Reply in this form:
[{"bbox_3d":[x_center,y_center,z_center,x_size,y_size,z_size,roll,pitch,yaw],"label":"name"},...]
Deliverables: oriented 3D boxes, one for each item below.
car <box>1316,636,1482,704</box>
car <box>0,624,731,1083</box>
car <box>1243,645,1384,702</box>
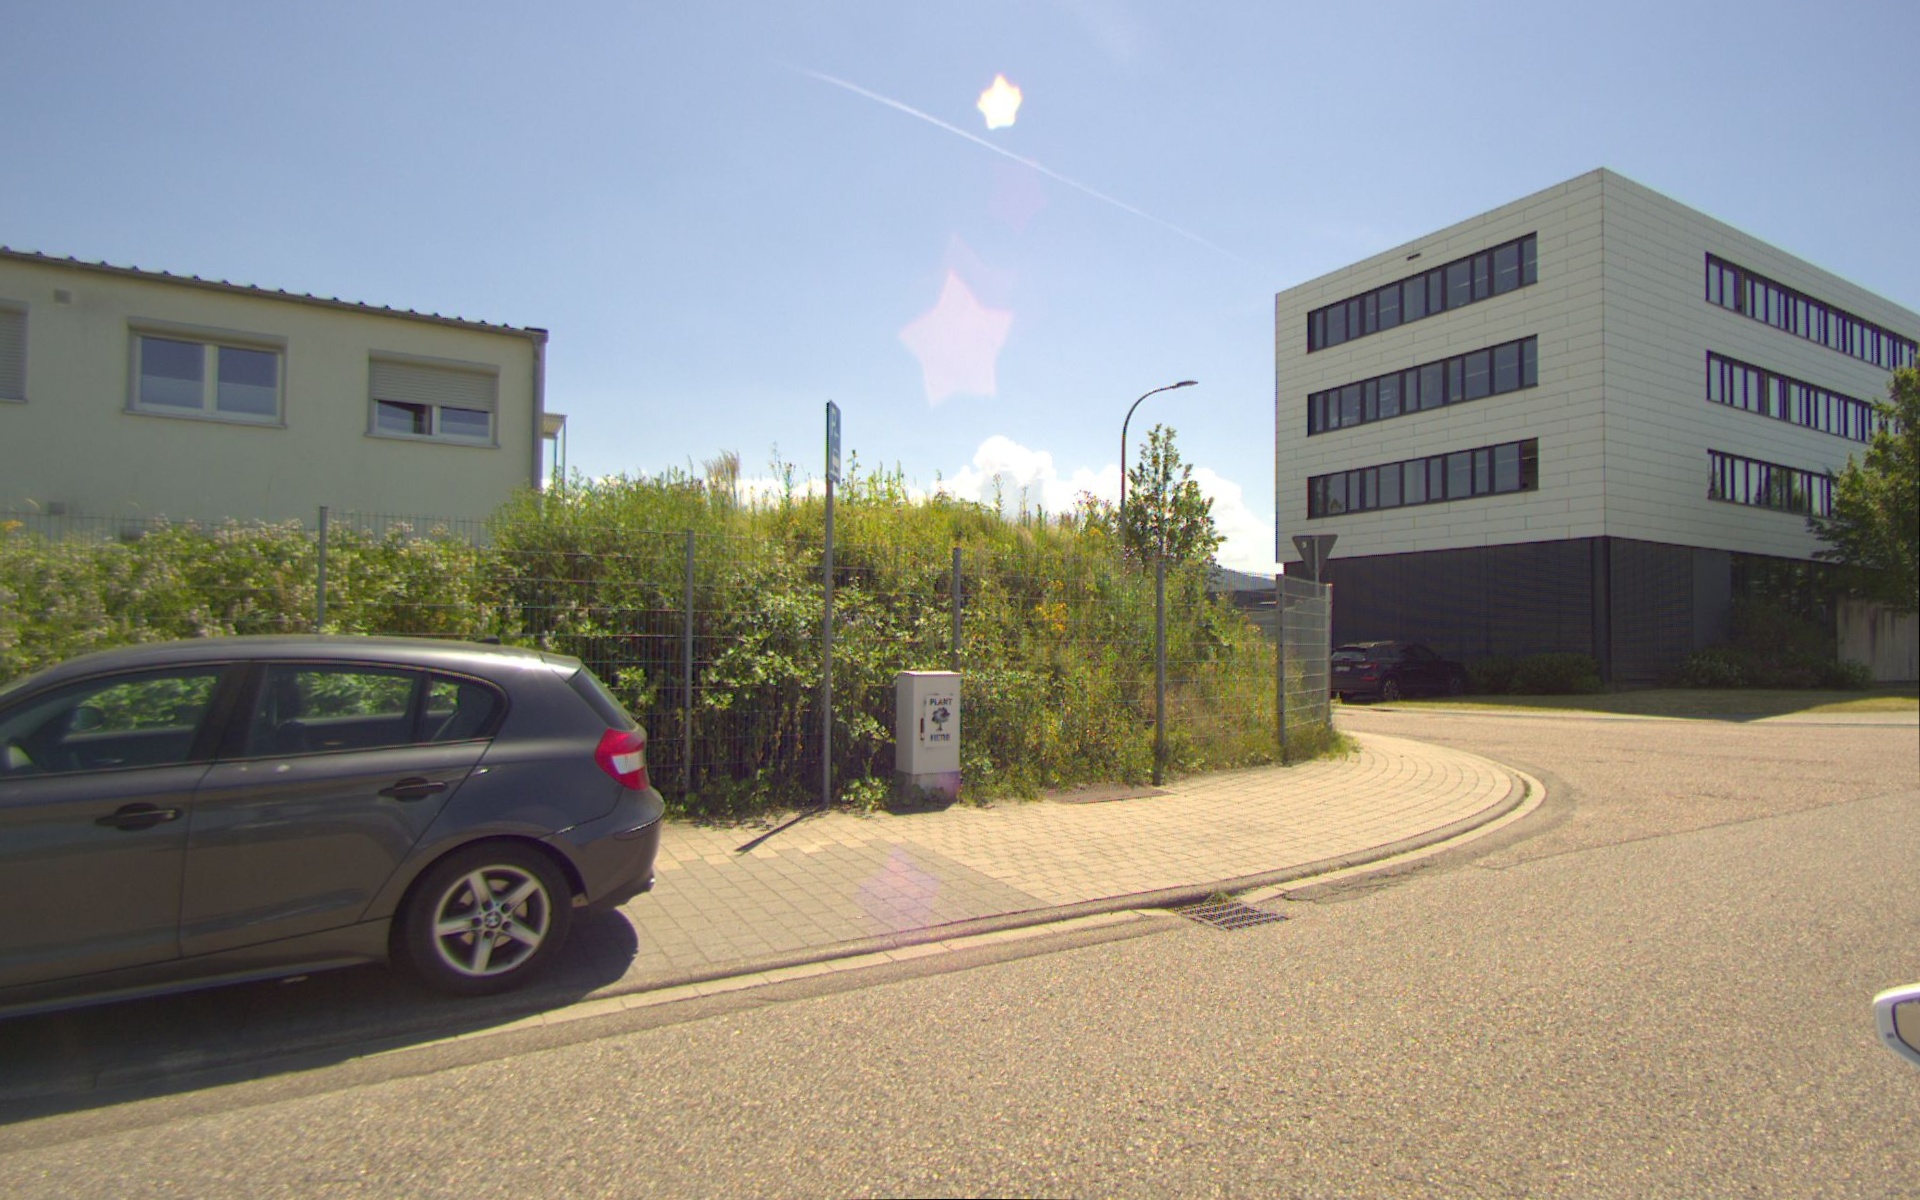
[{"bbox_3d":[12.819,1.966,29.258,4.841,1.614,1.798,-2,-1,-29],"label":"car"},{"bbox_3d":[-3.162,0.837,4.159,4.021,1.470,1.666,1,-1,-31],"label":"car"},{"bbox_3d":[11.136,2.269,31.612,4.201,1.466,1.798,-2,-1,-29],"label":"car"}]
